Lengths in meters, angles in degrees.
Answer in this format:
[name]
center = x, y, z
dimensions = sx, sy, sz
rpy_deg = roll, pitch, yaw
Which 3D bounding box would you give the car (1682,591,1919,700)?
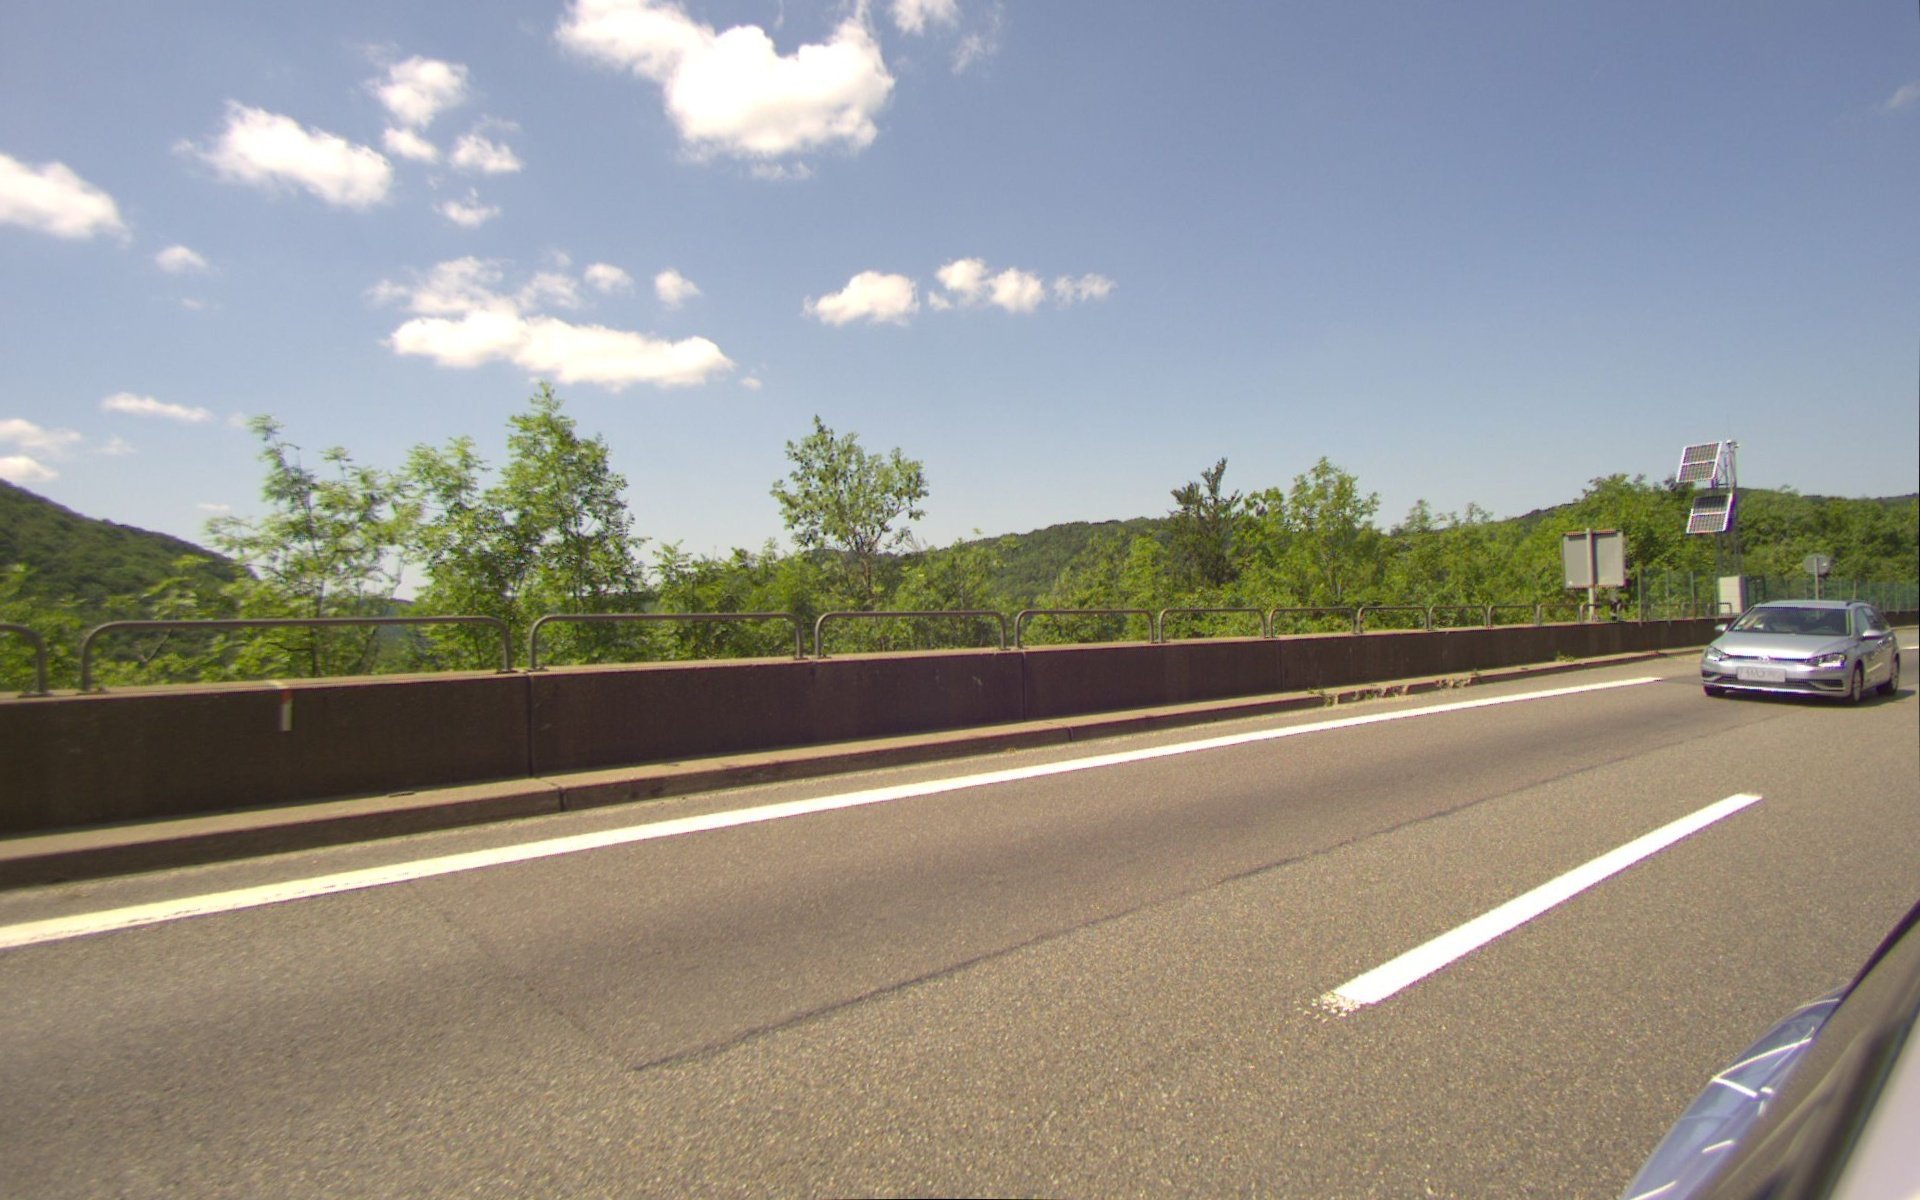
[car]
center = 12.866, 0.576, 15.338
dimensions = 4.214, 1.395, 1.973
rpy_deg = -1, 1, -37
